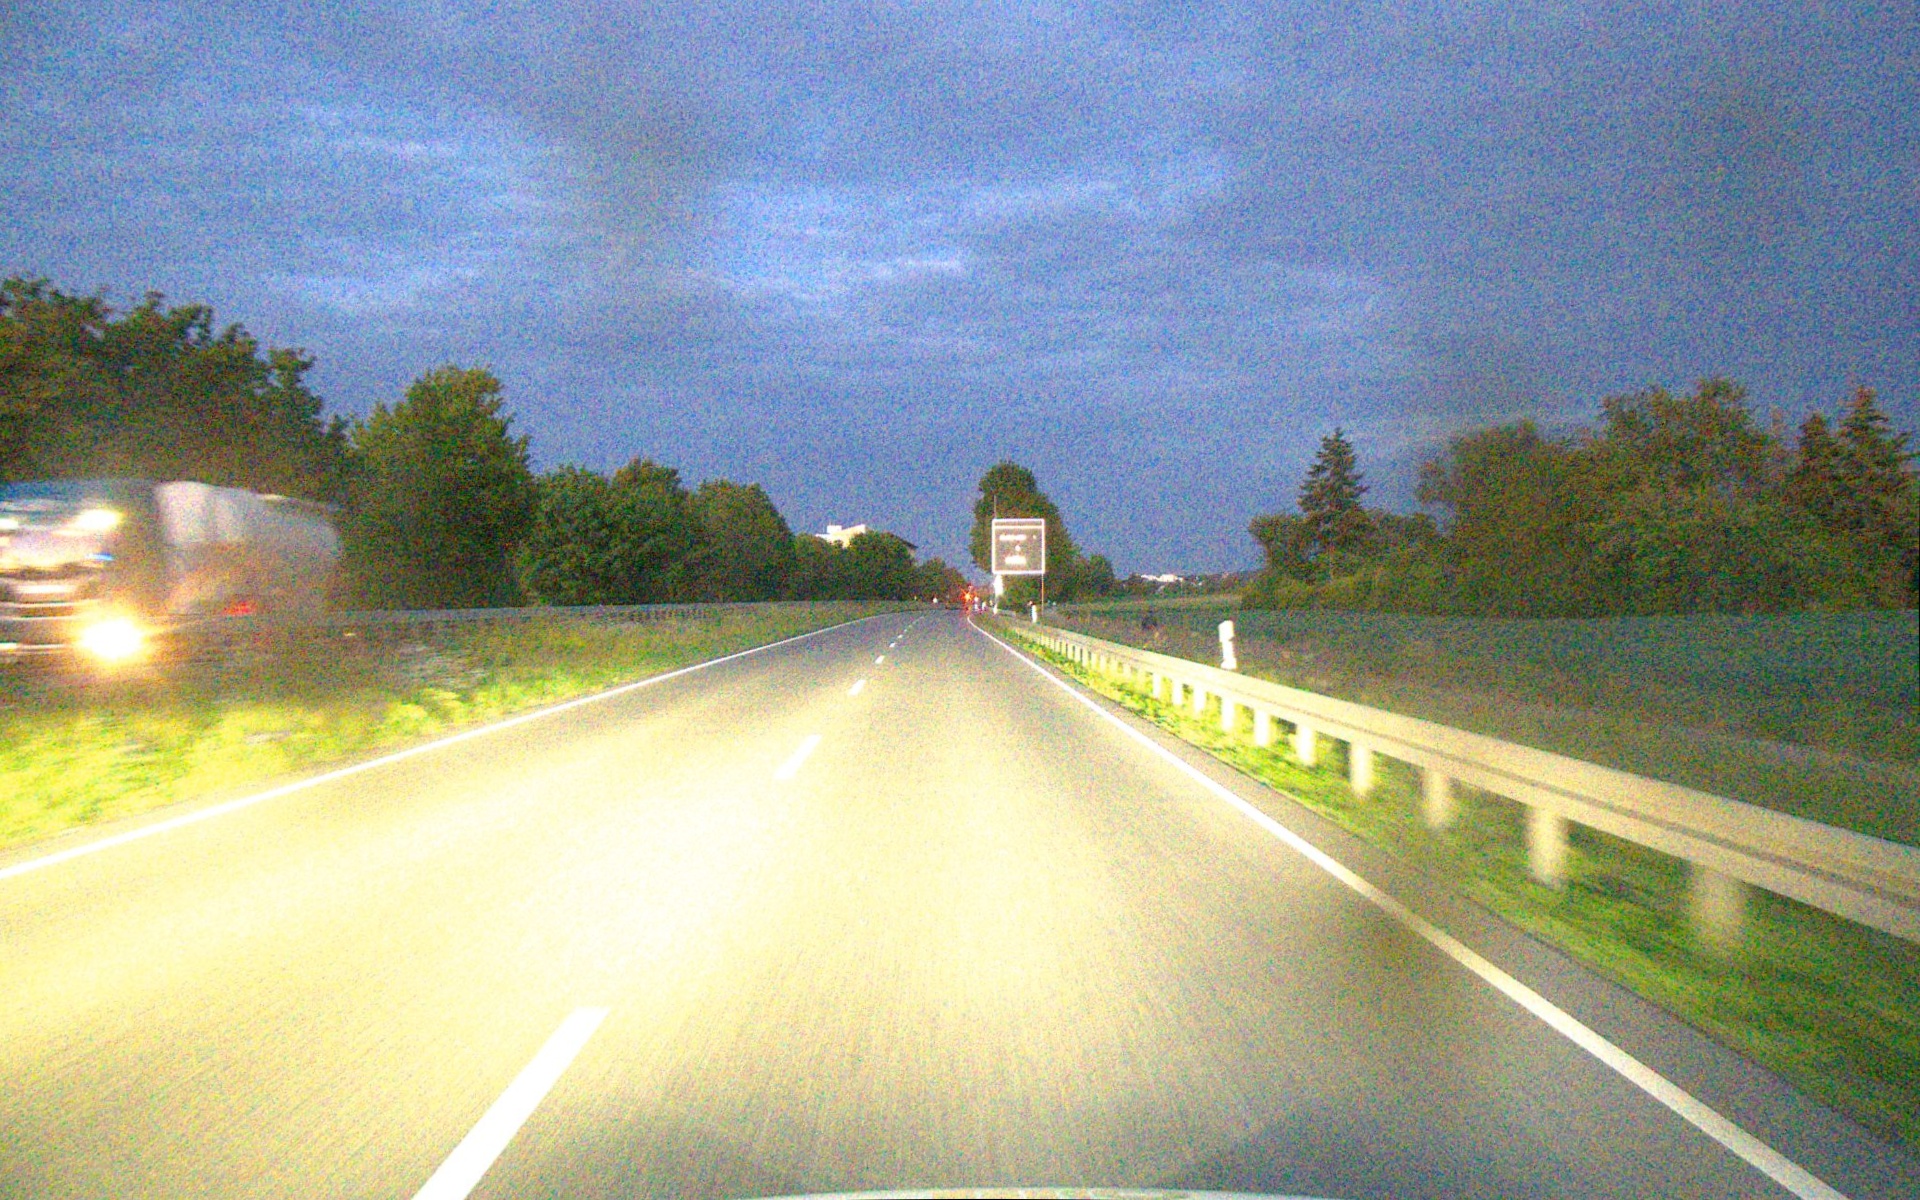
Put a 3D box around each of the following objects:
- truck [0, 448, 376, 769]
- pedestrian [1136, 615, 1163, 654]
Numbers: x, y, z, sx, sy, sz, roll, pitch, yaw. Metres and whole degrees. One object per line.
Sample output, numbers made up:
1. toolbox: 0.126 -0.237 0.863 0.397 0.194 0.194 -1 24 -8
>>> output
1. truck: -15.823 0.153 34.205 3.138 5.348 12.605 2 0 -1
2. pedestrian: 8.387 1.532 73.290 1.040 1.672 1.118 1 0 -1
